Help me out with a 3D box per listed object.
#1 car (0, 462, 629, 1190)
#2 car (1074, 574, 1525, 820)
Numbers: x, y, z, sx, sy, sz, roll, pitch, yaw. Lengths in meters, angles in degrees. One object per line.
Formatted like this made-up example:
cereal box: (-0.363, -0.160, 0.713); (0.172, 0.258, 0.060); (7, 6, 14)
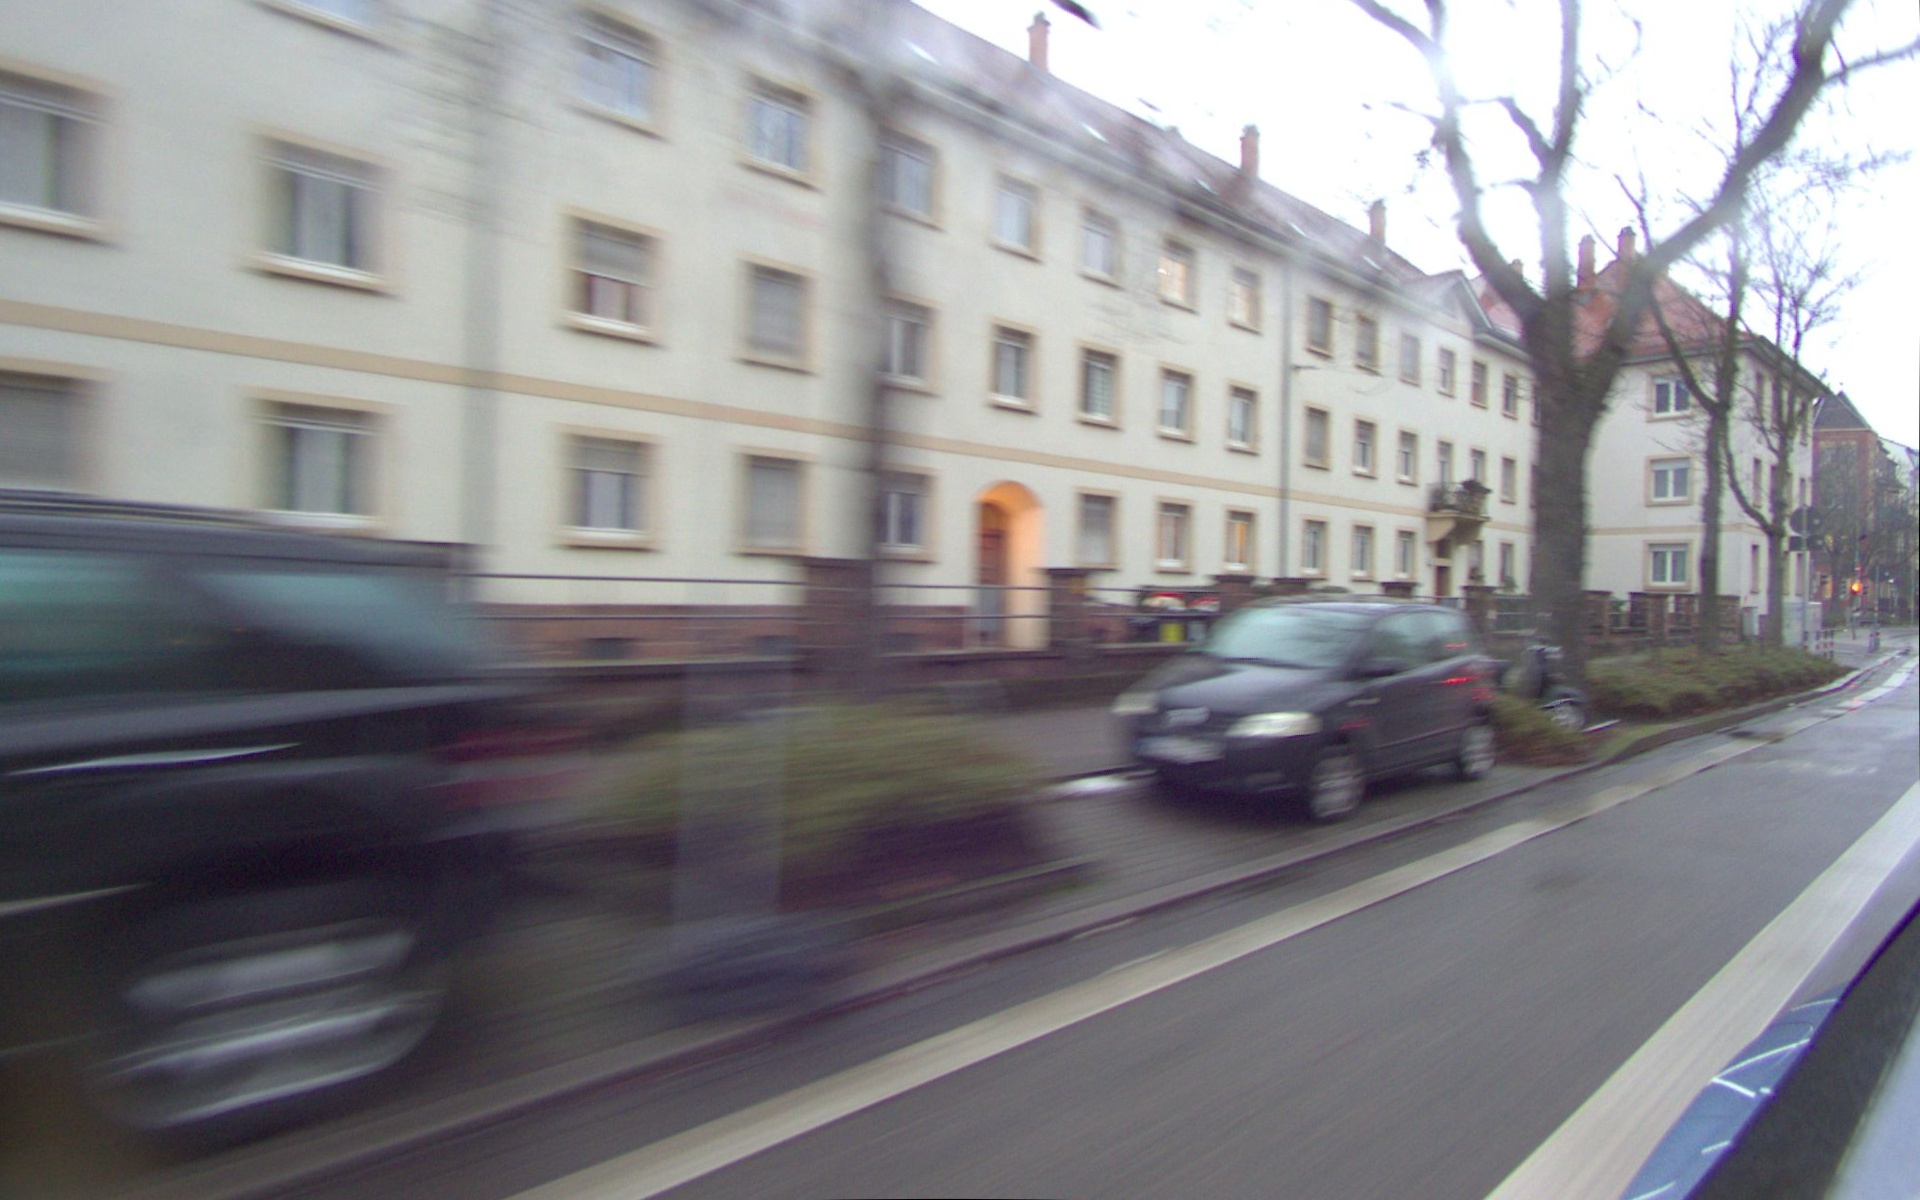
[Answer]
car: (-3.563, 0.530, 2.591); (4.817, 1.749, 1.909); (0, 1, -41)
car: (2.917, 0.593, 8.274); (3.918, 1.528, 1.788); (0, 1, -41)
